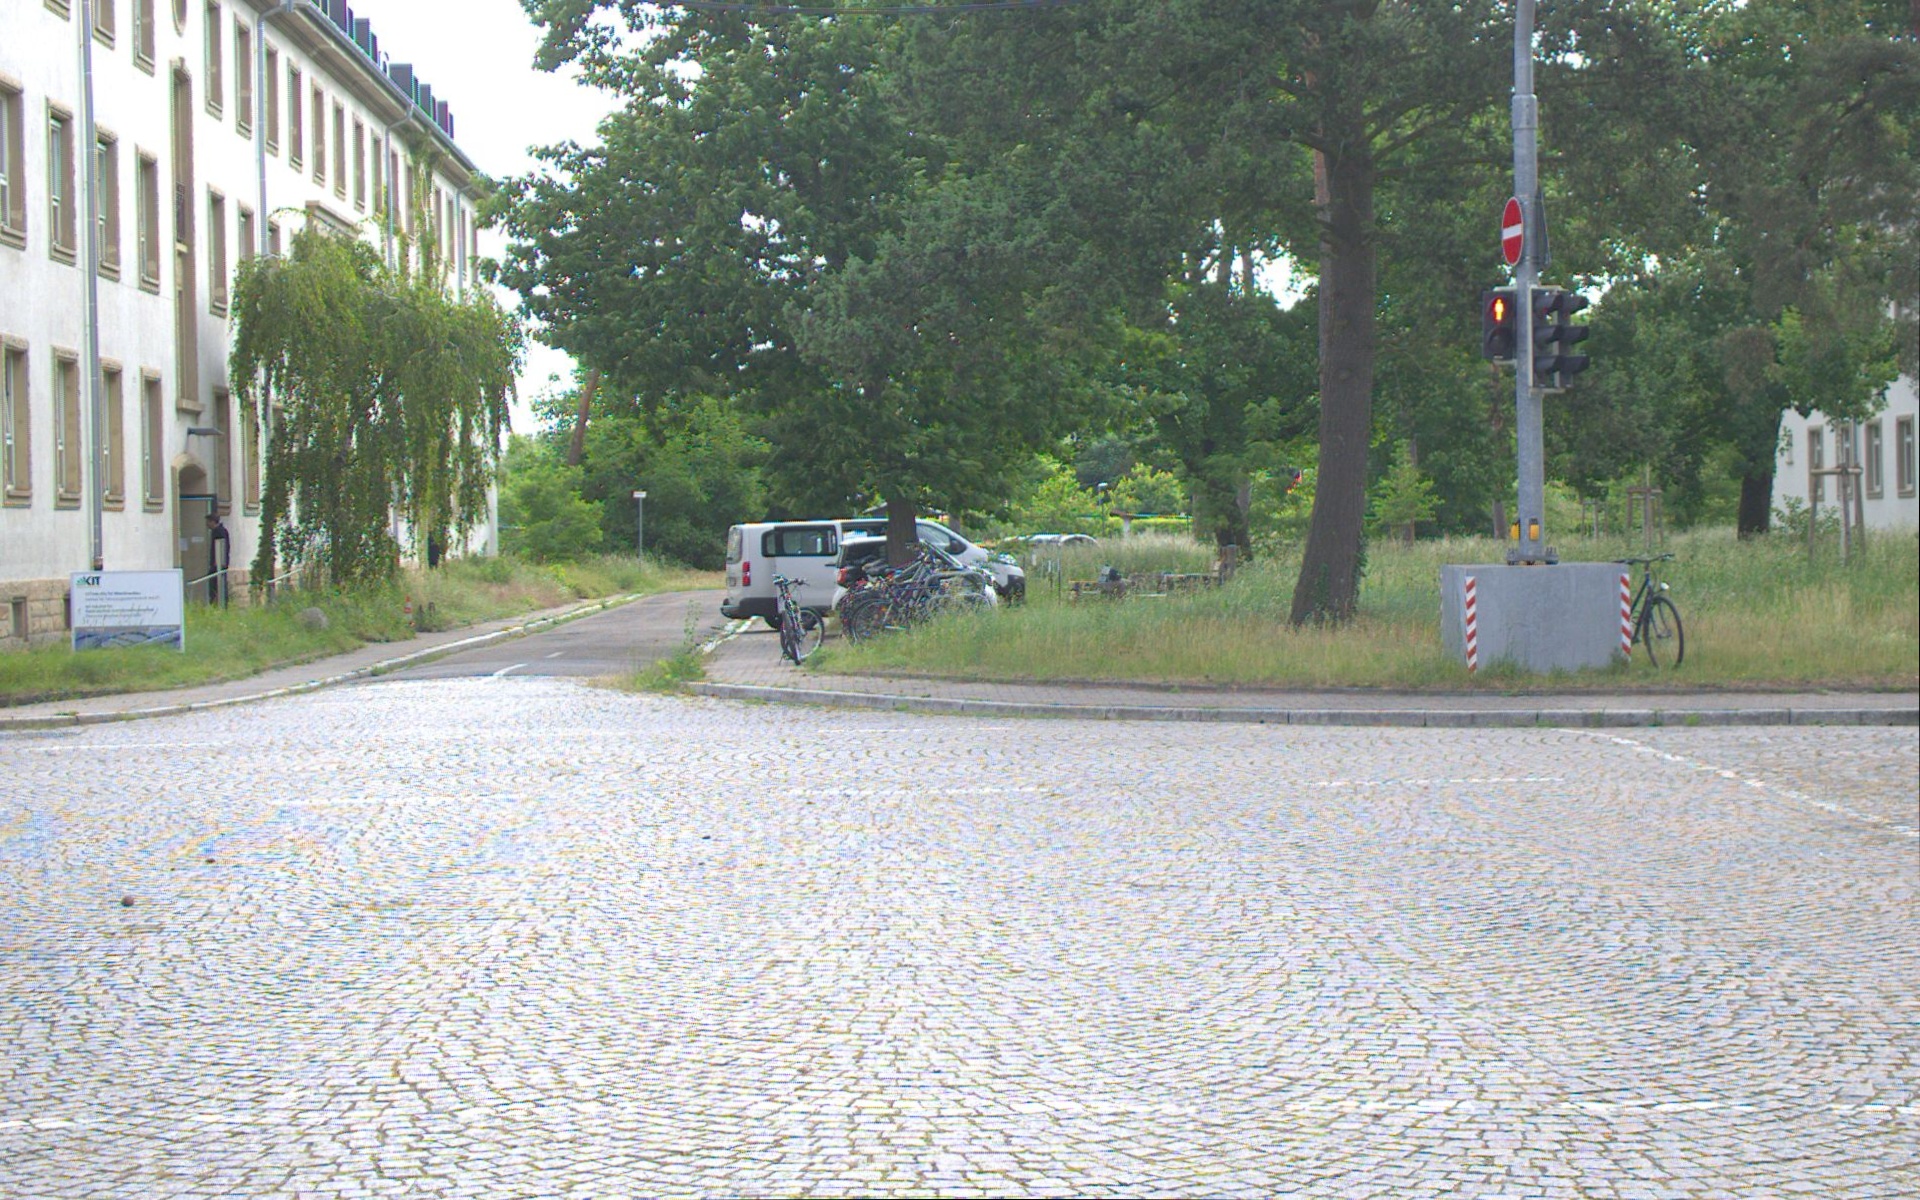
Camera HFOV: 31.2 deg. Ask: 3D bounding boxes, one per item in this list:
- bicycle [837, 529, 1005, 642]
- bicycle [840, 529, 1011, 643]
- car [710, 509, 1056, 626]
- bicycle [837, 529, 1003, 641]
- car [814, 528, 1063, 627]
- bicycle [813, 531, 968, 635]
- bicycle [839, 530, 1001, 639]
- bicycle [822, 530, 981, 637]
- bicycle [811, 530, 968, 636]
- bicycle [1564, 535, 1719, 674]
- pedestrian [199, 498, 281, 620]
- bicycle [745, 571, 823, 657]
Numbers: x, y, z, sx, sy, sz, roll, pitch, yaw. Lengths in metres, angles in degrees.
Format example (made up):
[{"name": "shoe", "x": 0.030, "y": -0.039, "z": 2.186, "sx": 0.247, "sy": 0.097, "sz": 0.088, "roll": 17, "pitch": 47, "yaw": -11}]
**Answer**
[{"name": "bicycle", "x": -0.487, "y": -0.187, "z": 43.156, "sx": 2.070, "sy": 1.373, "sz": 0.620, "roll": -1, "pitch": 1, "yaw": -1}, {"name": "bicycle", "x": -0.425, "y": -0.178, "z": 42.486, "sx": 2.070, "sy": 1.373, "sz": 0.620, "roll": -1, "pitch": 1, "yaw": -1}, {"name": "car", "x": -1.372, "y": -0.582, "z": 60.362, "sx": 5.690, "sy": 1.904, "sz": 2.231, "roll": -1, "pitch": 1, "yaw": -13}, {"name": "bicycle", "x": -0.507, "y": -0.195, "z": 43.780, "sx": 2.070, "sy": 1.373, "sz": 0.620, "roll": -1, "pitch": 1, "yaw": -1}, {"name": "car", "x": -0.385, "y": -0.387, "z": 57.009, "sx": 3.932, "sy": 1.539, "sz": 2.000, "roll": -1, "pitch": 1, "yaw": -6}, {"name": "bicycle", "x": -0.946, "y": -0.238, "z": 46.855, "sx": 2.070, "sy": 1.373, "sz": 0.620, "roll": -1, "pitch": 1, "yaw": -1}, {"name": "bicycle", "x": -0.521, "y": -0.204, "z": 44.577, "sx": 2.070, "sy": 1.373, "sz": 0.620, "roll": -1, "pitch": 1, "yaw": -1}, {"name": "bicycle", "x": -0.769, "y": -0.219, "z": 45.372, "sx": 2.070, "sy": 1.373, "sz": 0.620, "roll": -1, "pitch": 1, "yaw": -1}, {"name": "bicycle", "x": -0.940, "y": -0.229, "z": 46.107, "sx": 2.070, "sy": 1.373, "sz": 0.620, "roll": -1, "pitch": 1, "yaw": -1}, {"name": "bicycle", "x": 5.990, "y": 0.019, "z": 30.312, "sx": 0.908, "sy": 1.173, "sz": 1.874, "roll": -1, "pitch": 1, "yaw": -2}, {"name": "pedestrian", "x": -12.101, "y": -0.690, "z": 57.804, "sx": 1.087, "sy": 2.007, "sz": 1.021, "roll": -1, "pitch": 1, "yaw": 4}, {"name": "bicycle", "x": -2.069, "y": 0.156, "z": 40.669, "sx": 0.618, "sy": 0.960, "sz": 2.076, "roll": -1, "pitch": 1, "yaw": 5}]
